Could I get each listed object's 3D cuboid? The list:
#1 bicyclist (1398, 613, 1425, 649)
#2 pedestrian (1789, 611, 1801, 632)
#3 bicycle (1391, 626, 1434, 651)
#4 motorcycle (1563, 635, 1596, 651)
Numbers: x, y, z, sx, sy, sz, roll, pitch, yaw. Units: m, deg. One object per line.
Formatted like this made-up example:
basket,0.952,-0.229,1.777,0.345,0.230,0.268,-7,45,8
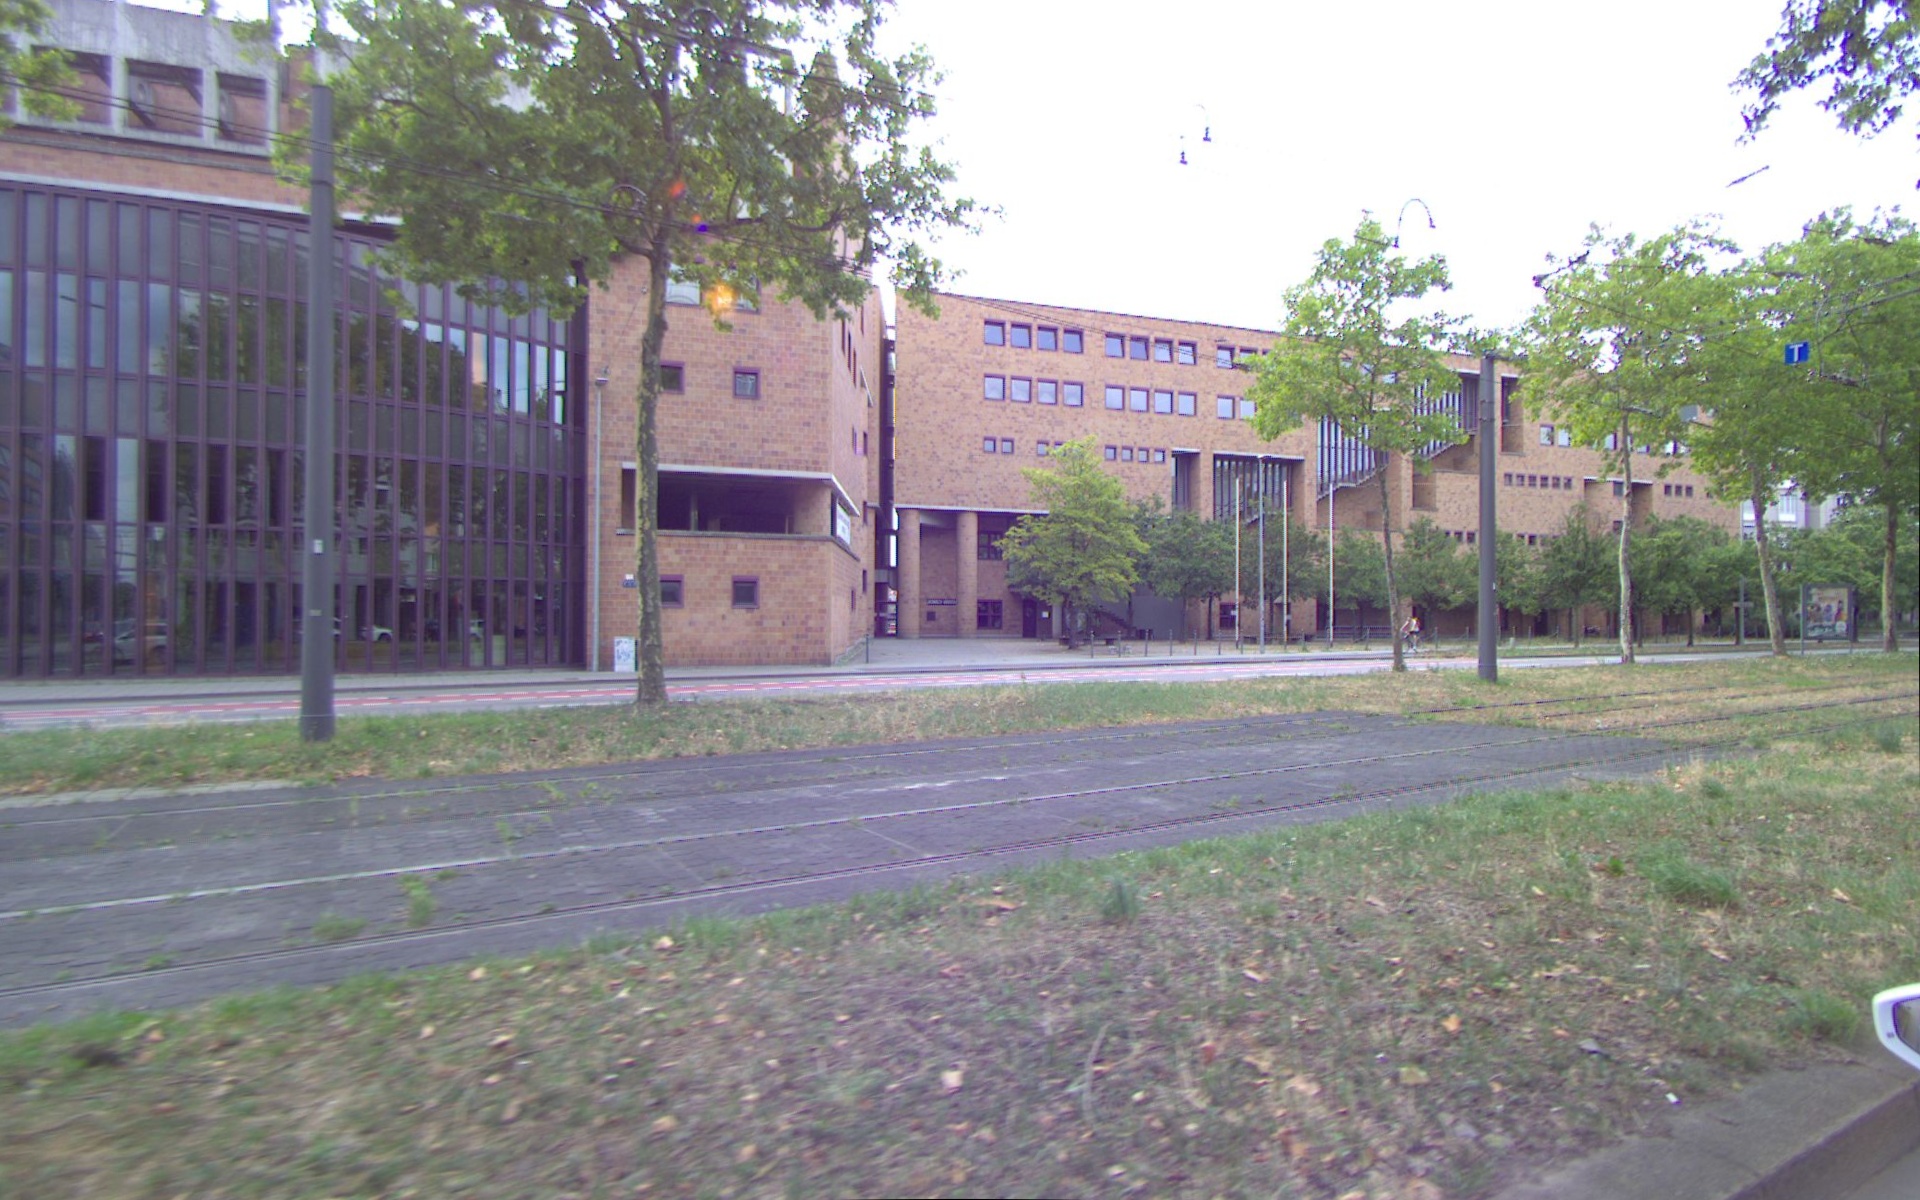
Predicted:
bicyclist,20.776,1.410,46.198,0.971,1.612,0.661,0,-1,-27
pedestrian,69.011,1.772,82.982,0.618,1.728,0.551,0,-1,-25
bicycle,20.837,1.770,46.222,2.066,1.099,0.665,0,-1,-27
motorcycle,48.591,3.339,78.797,2.162,1.207,0.794,-1,-1,38
